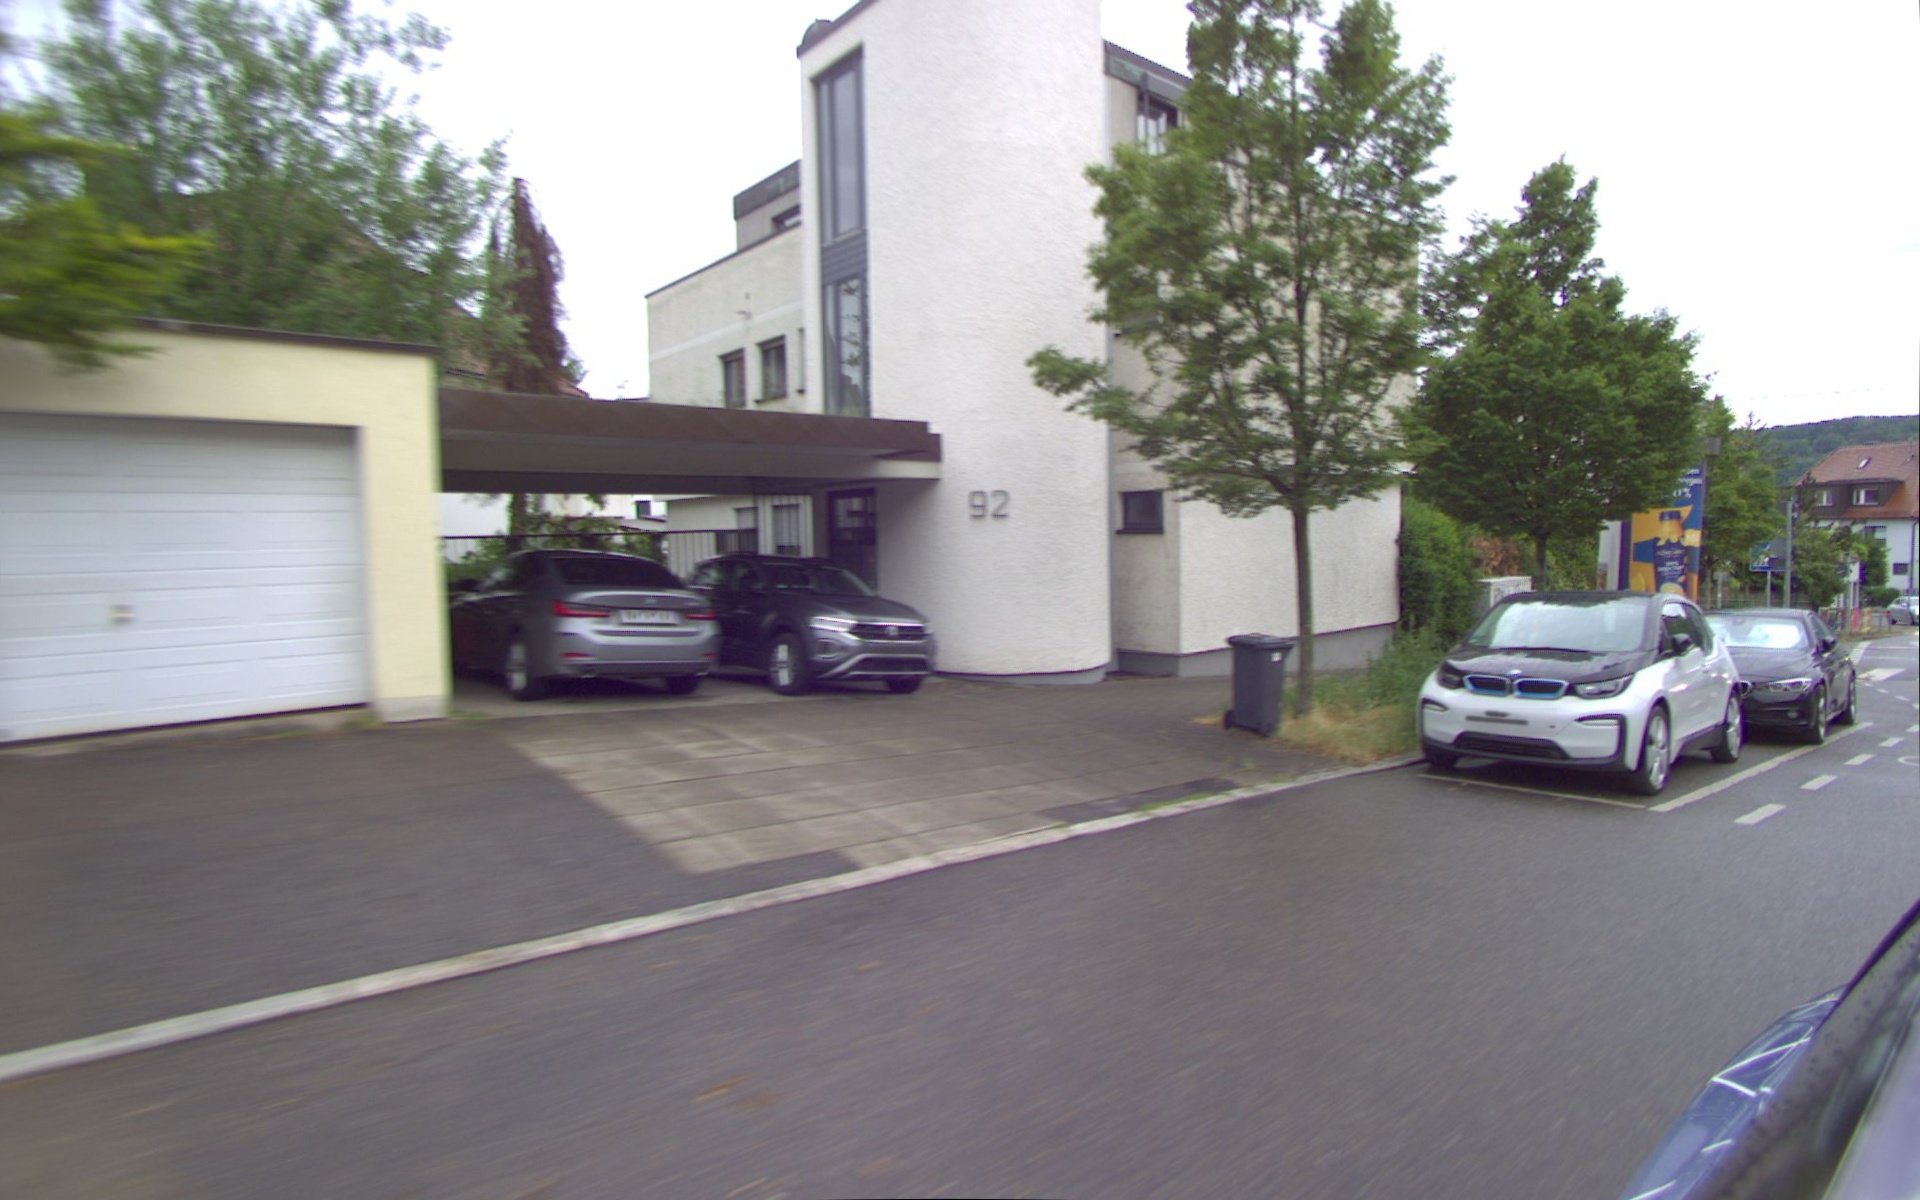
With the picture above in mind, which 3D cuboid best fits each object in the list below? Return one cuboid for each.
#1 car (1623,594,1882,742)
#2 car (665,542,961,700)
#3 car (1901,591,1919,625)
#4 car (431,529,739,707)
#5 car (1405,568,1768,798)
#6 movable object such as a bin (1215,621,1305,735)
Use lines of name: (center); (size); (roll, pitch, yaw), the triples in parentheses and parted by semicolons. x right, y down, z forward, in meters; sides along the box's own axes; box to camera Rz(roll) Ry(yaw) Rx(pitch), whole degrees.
car: (9.820, 0.692, 12.378); (4.798, 1.457, 1.781); (1, 0, -43)
car: (-1.835, 0.170, 11.763); (1.750, 1.526, 3.709); (1, 0, -39)
car: (55.128, 0.471, 57.028); (1.998, 1.927, 4.056); (1, 1, 27)
car: (-4.162, 0.135, 10.780); (1.797, 1.499, 4.308); (1, 0, -39)
car: (5.811, 0.602, 9.189); (4.048, 1.628, 1.732); (1, -1, -42)
movable object such as a bin: (2.843, 0.723, 9.605); (0.593, 0.986, 0.488); (1, 4, -34)
